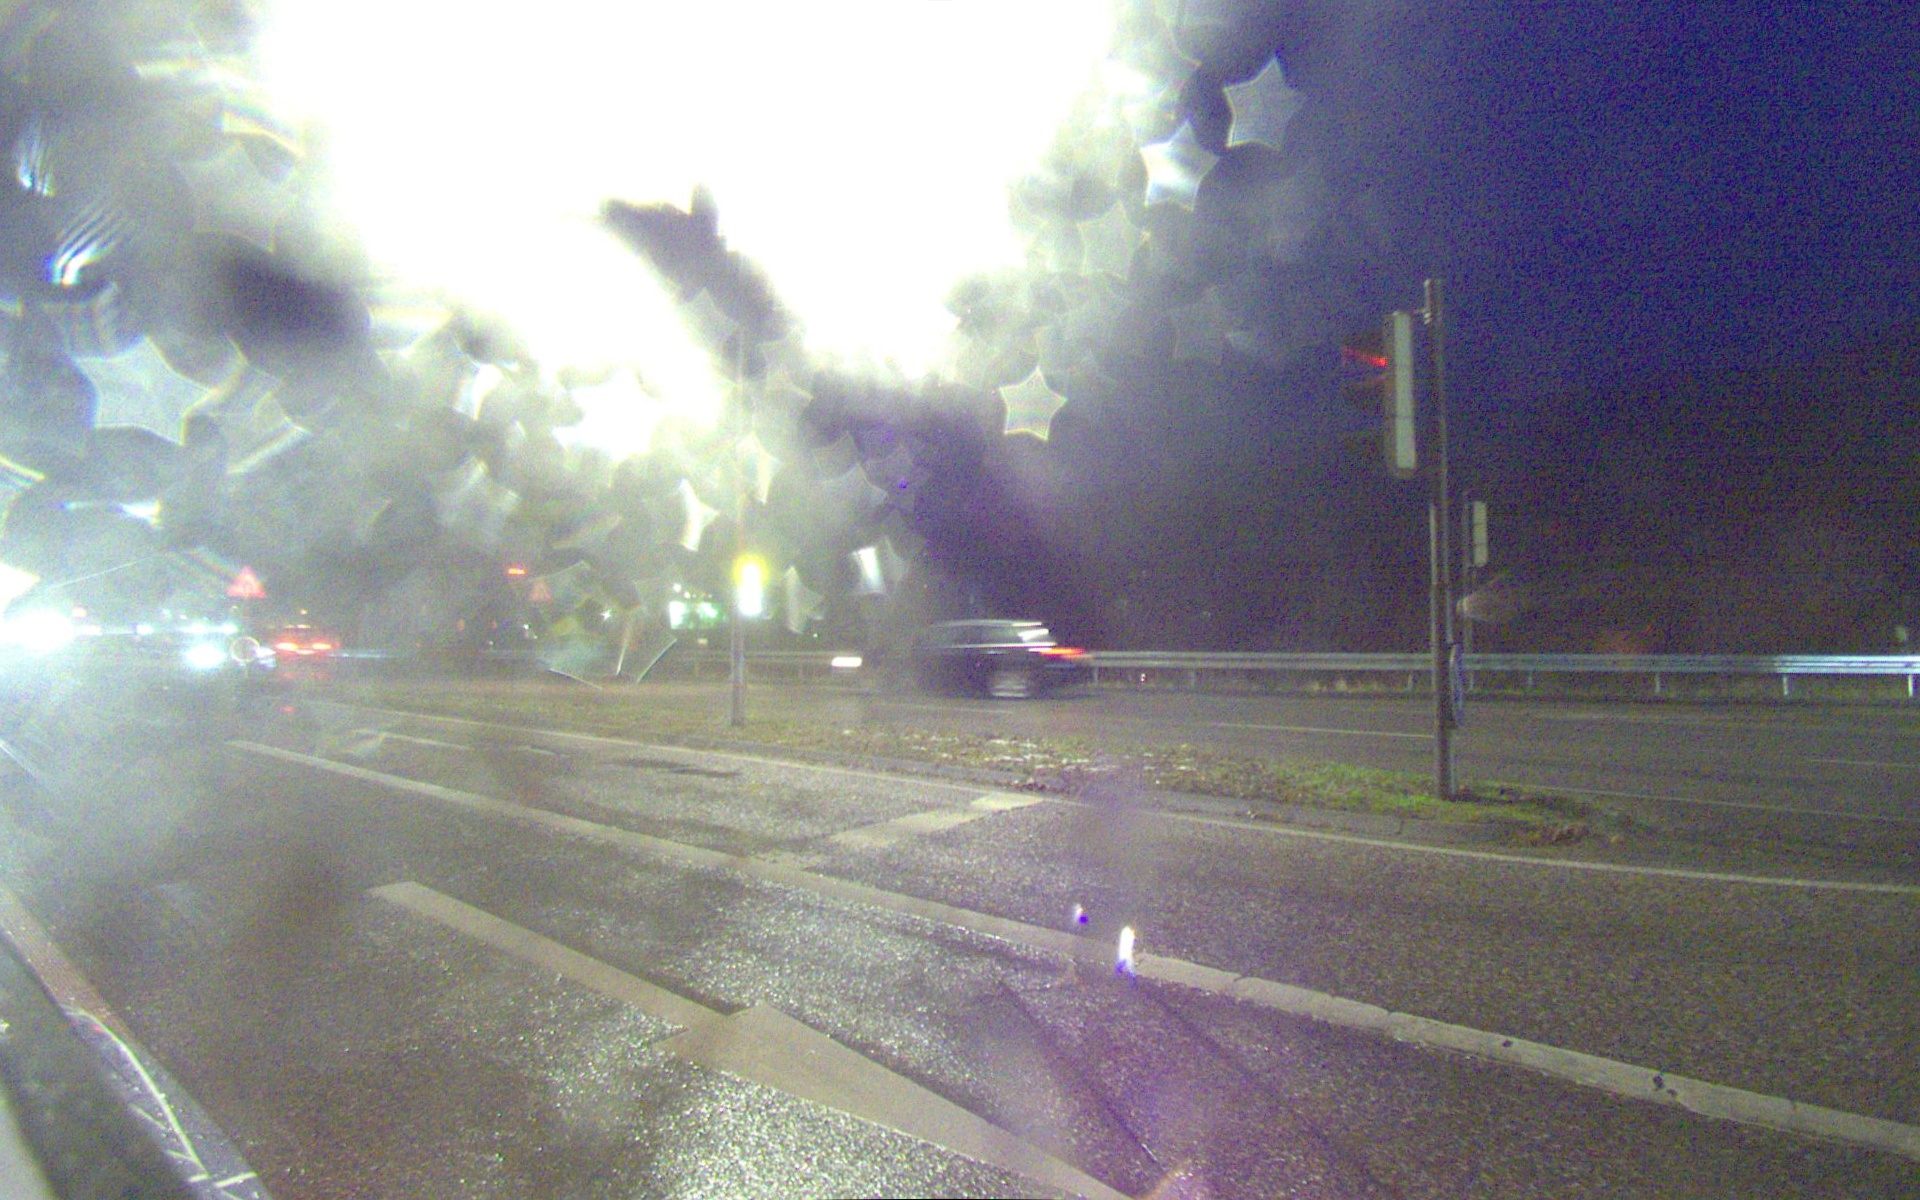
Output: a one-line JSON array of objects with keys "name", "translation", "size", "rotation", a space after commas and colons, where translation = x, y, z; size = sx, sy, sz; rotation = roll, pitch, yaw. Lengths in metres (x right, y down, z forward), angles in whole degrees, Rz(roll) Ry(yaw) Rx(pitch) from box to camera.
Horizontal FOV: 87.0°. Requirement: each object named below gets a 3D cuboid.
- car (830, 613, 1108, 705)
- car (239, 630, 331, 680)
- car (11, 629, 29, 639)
[{"name": "car", "translation": [0.145, 1.007, 18.678], "size": [4.861, 1.515, 1.738], "rotation": [0, 0, 23]}, {"name": "car", "translation": [-25.316, 2.009, 37.877], "size": [4.504, 1.665, 1.690], "rotation": [0, -1, 40]}, {"name": "car", "translation": [-148.031, 5.315, 159.438], "size": [1.780, 1.435, 4.213], "rotation": [0, -1, -38]}]
